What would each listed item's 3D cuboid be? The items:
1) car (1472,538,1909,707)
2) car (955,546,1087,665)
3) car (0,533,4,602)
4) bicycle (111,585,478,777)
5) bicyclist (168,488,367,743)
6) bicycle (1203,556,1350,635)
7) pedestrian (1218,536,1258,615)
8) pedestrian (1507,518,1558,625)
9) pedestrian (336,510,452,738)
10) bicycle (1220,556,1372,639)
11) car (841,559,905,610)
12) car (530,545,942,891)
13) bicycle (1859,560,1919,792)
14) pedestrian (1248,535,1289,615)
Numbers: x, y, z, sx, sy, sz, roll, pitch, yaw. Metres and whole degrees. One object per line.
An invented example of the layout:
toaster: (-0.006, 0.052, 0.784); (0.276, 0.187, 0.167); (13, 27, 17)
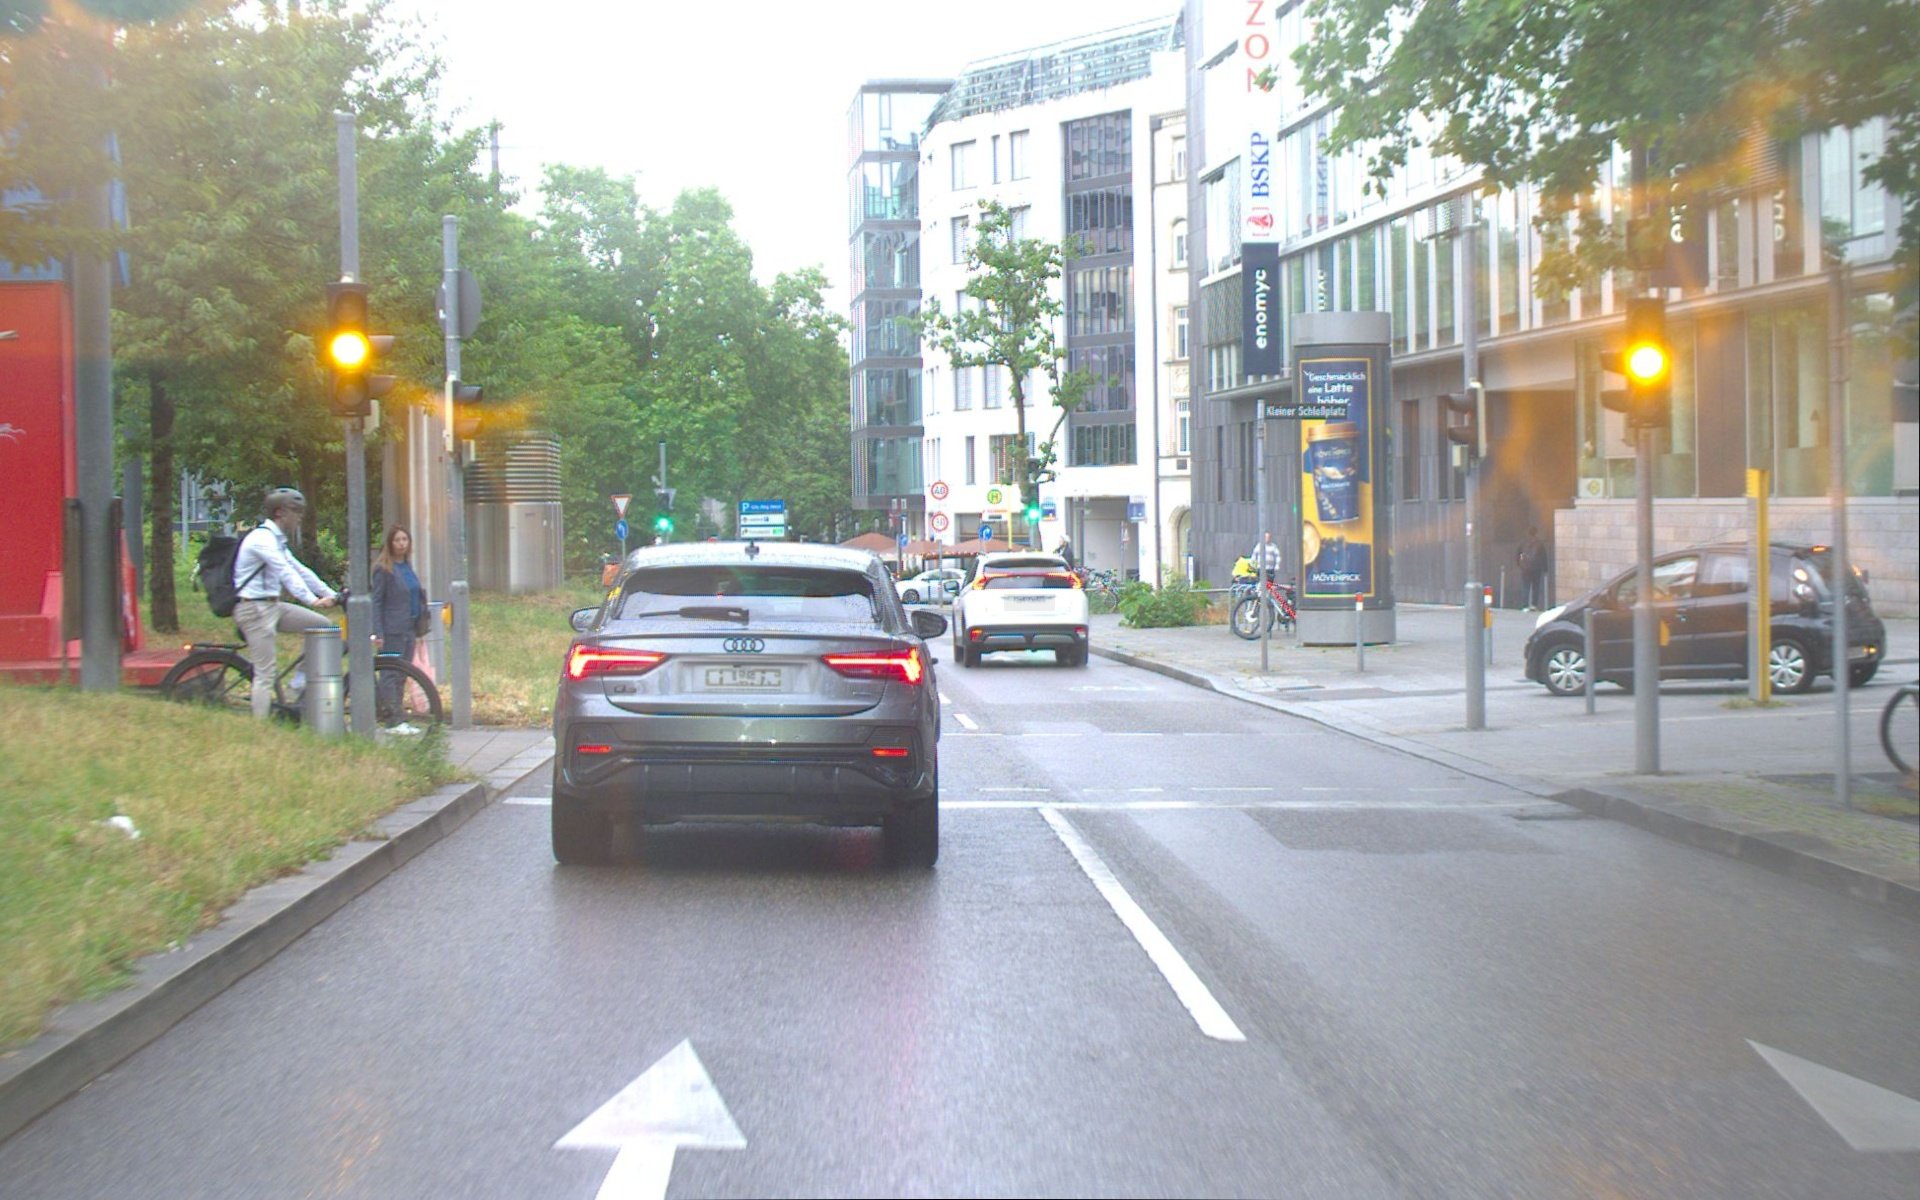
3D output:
car: (7.113, 0.190, 33.672); (3.861, 1.562, 1.663); (1, 0, 42)
car: (0.881, 0.047, 50.575); (1.849, 1.663, 4.039); (0, 1, 0)
car: (-22.260, -0.652, 75.606); (1.732, 1.553, 4.001); (-2, 2, -7)
bicycle: (-4.412, 0.529, 22.886); (2.254, 1.158, 0.751); (2, 0, 0)
bicyclist: (-4.599, 0.100, 22.888); (1.104, 1.616, 0.751); (3, 0, 0)
bicycle: (5.255, -0.079, 57.124); (2.337, 1.308, 0.710); (0, 1, -7)
pedestrian: (7.145, -0.640, 88.394); (0.855, 2.007, 0.976); (1, 0, -5)
pedestrian: (11.417, -0.567, 68.561); (0.936, 2.108, 1.075); (1, 0, 12)
pedestrian: (-4.517, 0.184, 27.485); (0.662, 1.787, 0.750); (1, 0, 13)
bicycle: (5.399, -0.044, 55.265); (2.337, 1.308, 0.710); (0, 1, -7)
car: (-2.663, -0.481, 106.229); (1.849, 1.518, 4.039); (0, 1, 0)
car: (-1.022, 0.502, 17.504); (1.849, 1.518, 4.039); (0, 1, 0)
bicycle: (6.606, 0.475, 21.192); (1.983, 1.410, 0.725); (1, 0, 9)
pedestrian: (7.816, -0.626, 87.235); (0.855, 2.007, 0.976); (1, 0, -5)
